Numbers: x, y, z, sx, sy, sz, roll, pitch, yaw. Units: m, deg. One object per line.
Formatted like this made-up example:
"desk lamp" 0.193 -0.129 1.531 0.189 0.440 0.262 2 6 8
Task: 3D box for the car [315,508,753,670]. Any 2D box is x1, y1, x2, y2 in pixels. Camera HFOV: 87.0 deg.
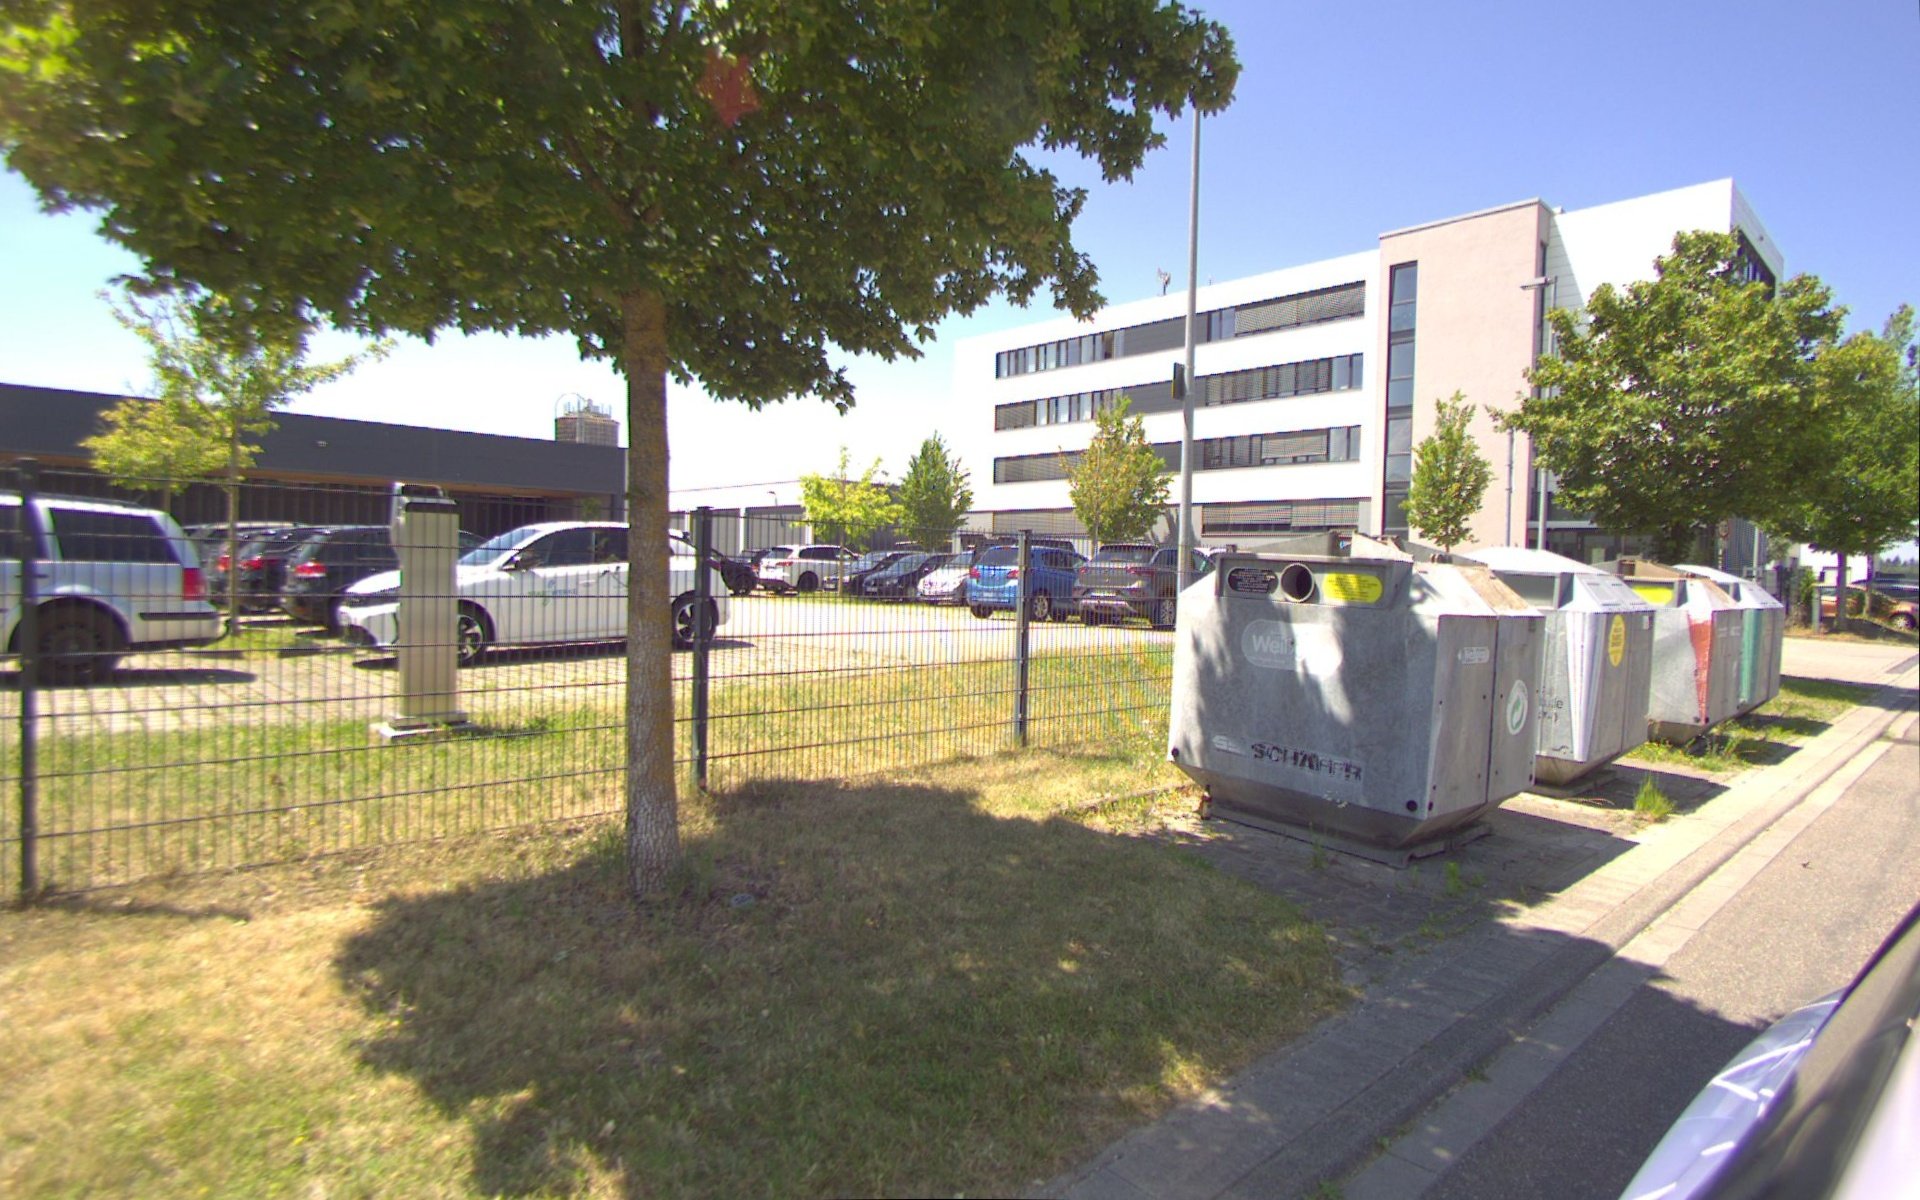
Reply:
"car" -4.508 -0.225 11.139 4.076 1.449 1.791 -3 5 -44

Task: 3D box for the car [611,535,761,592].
"car" -8.380 -1.096 31.141 4.009 1.604 1.913 0 2 -45

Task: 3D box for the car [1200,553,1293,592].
"car" 12.340 -1.220 43.428 4.149 1.547 1.809 -2 4 -40

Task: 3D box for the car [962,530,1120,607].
"car" 2.283 -0.934 27.785 4.444 1.922 1.913 -3 5 -45

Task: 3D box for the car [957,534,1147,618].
"car" 1.949 -0.450 20.527 3.956 1.510 1.647 2 1 -45

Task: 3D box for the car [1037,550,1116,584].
"car" 5.811 -1.669 50.118 4.045 1.570 1.617 -2 4 -43

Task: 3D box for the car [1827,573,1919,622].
"car" 32.020 -0.078 34.377 1.753 1.513 3.716 -1 4 -44

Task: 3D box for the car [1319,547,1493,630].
"car" 9.169 -0.316 20.639 4.339 1.472 1.791 -3 5 -45

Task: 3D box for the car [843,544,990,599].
"car" -1.296 -0.945 31.353 4.444 1.551 1.913 -3 5 -45

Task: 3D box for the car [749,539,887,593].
"car" -4.834 -1.215 34.812 4.460 1.735 1.913 -3 5 -45

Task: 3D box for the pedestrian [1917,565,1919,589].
"pedestrian" 65.417 -1.537 68.529 0.770 1.649 0.614 2 2 33

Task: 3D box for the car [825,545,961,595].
"car" -2.192 -1.066 34.003 4.444 1.551 1.913 -3 5 -45

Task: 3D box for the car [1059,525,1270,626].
"car" 3.888 -0.409 18.840 4.172 1.643 1.791 2 1 -45

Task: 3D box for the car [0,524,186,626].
"car" -14.438 -0.404 15.384 4.034 1.479 1.791 -3 5 -44

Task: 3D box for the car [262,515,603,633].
"car" -7.518 -0.450 14.684 4.034 1.479 1.791 -3 5 -44

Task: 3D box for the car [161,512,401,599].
"car" -14.580 -0.999 21.871 4.034 1.702 1.791 -3 5 -44

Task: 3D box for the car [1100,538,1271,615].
"car" 5.492 -0.656 24.275 4.576 1.673 1.841 -3 5 -45

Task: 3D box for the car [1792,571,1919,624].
"car" 29.687 -0.091 32.810 1.696 1.513 3.992 -1 4 -44

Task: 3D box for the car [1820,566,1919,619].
"car" 33.831 -0.265 36.468 1.693 1.787 3.998 0 4 -39

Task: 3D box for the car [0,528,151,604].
"car" -19.263 -0.715 20.723 4.034 1.479 1.791 -3 5 -44

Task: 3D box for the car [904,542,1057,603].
"car" 0.661 -0.871 29.442 4.444 1.642 1.913 -3 5 -45

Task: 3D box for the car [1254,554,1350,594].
"car" 13.971 -1.094 41.287 4.149 1.478 1.809 -2 4 -40

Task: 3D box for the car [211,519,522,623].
"car" -9.519 -0.543 16.438 4.034 1.479 1.791 -3 5 -44

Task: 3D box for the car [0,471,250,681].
"car" -8.179 -0.225 7.651 4.348 1.550 1.791 2 1 -45

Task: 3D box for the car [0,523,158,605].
"car" -20.901 -0.848 22.987 4.034 1.782 1.791 -3 5 -44

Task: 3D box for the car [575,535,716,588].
"car" -10.274 -1.240 33.230 4.009 1.604 1.913 0 2 -45

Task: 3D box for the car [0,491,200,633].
"car" -11.100 -0.443 10.982 4.348 1.500 1.791 2 1 -45

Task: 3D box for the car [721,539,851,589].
"car" -6.340 -1.379 37.213 4.460 1.735 1.913 -3 5 -45

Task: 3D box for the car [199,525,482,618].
"car" -11.016 -0.583 18.186 4.034 1.479 1.791 -3 5 -44
